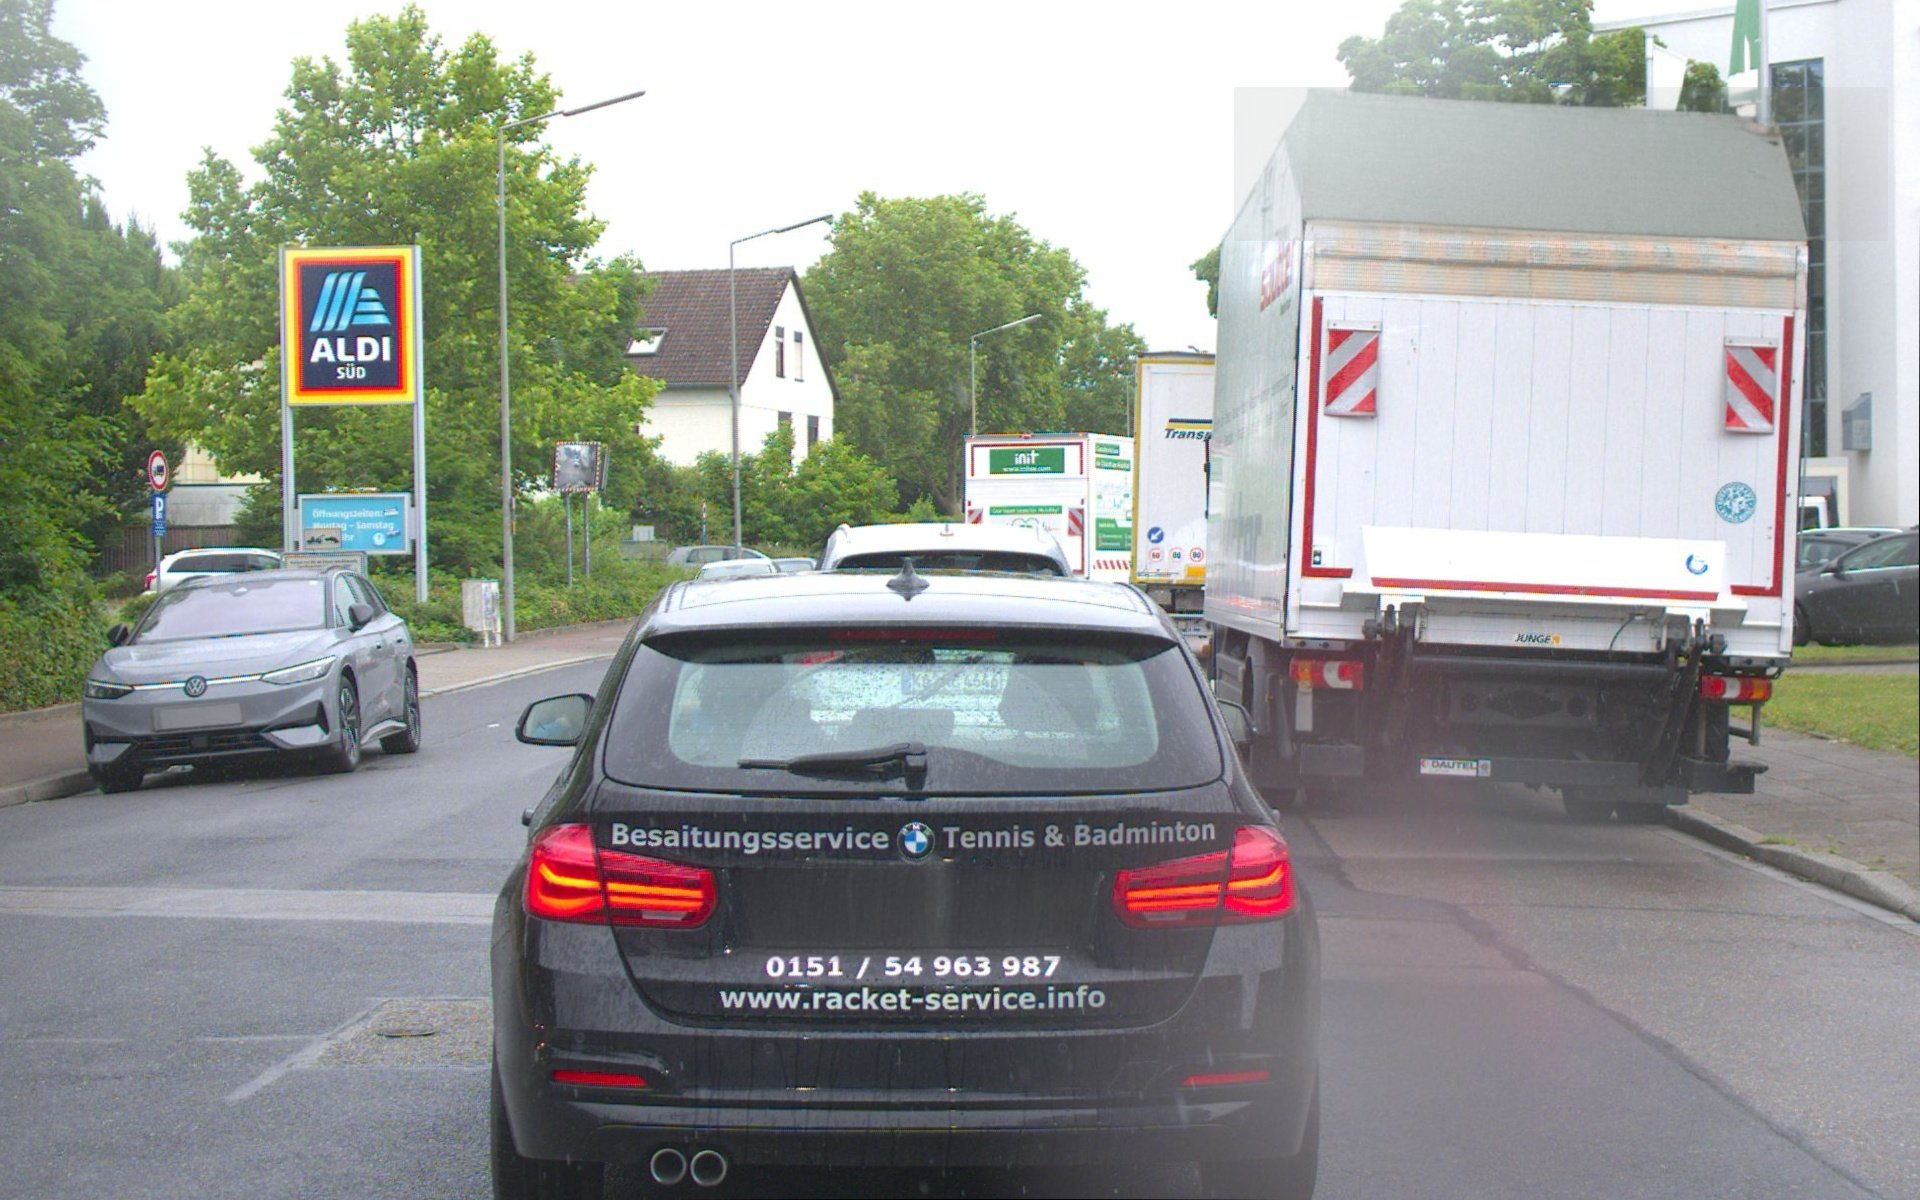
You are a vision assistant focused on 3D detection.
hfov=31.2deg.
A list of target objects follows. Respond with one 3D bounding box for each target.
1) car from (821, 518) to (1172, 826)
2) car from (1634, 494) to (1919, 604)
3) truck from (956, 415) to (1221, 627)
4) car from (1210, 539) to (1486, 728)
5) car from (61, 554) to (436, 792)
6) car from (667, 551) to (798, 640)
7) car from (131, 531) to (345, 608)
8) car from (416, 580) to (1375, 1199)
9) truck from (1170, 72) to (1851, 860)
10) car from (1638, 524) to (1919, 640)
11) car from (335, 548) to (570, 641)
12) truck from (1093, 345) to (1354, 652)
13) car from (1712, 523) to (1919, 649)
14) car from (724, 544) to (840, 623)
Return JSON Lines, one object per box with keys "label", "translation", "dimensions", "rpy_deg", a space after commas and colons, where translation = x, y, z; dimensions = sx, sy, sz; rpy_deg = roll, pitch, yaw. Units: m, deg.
{"label": "car", "translation": [0.135, 0.351, 19.714], "dimensions": [1.804, 1.581, 4.000], "rpy_deg": [0, 1, -2]}
{"label": "car", "translation": [16.072, -0.948, 64.422], "dimensions": [6.452, 2.007, 2.000], "rpy_deg": [0, 0, -4]}
{"label": "truck", "translation": [2.290, -1.423, 57.950], "dimensions": [2.343, 3.245, 7.744], "rpy_deg": [3, 3, 18]}
{"label": "car", "translation": [3.151, 0.218, 28.692], "dimensions": [1.797, 1.436, 4.345], "rpy_deg": [-1, 1, 0]}
{"label": "car", "translation": [-5.297, 0.477, 26.225], "dimensions": [1.809, 1.523, 4.748], "rpy_deg": [-4, 1, 0]}
{"label": "car", "translation": [-3.872, -0.108, 59.234], "dimensions": [1.705, 1.362, 4.601], "rpy_deg": [-3, 1, 2]}
{"label": "car", "translation": [-14.902, -0.639, 71.092], "dimensions": [3.987, 1.535, 1.911], "rpy_deg": [0, 1, 2]}
{"label": "car", "translation": [-0.173, 0.659, 8.481], "dimensions": [1.804, 1.390, 4.000], "rpy_deg": [0, 1, -2]}
{"label": "truck", "translation": [2.985, -0.739, 21.540], "dimensions": [2.741, 3.776, 9.299], "rpy_deg": [2, 1, 1]}
{"label": "car", "translation": [11.543, -0.280, 47.727], "dimensions": [3.777, 1.392, 1.723], "rpy_deg": [4, 4, 41]}
{"label": "car", "translation": [-8.407, -0.101, 57.124], "dimensions": [3.570, 1.455, 1.712], "rpy_deg": [1, 1, 2]}
{"label": "truck", "translation": [3.312, -1.282, 45.133], "dimensions": [2.741, 3.598, 7.750], "rpy_deg": [2, 1, 0]}
{"label": "car", "translation": [11.538, -0.183, 41.062], "dimensions": [4.671, 1.463, 1.787], "rpy_deg": [0, 1, 38]}
{"label": "car", "translation": [-3.363, -0.335, 65.648], "dimensions": [1.706, 1.362, 3.838], "rpy_deg": [-3, 1, 4]}
